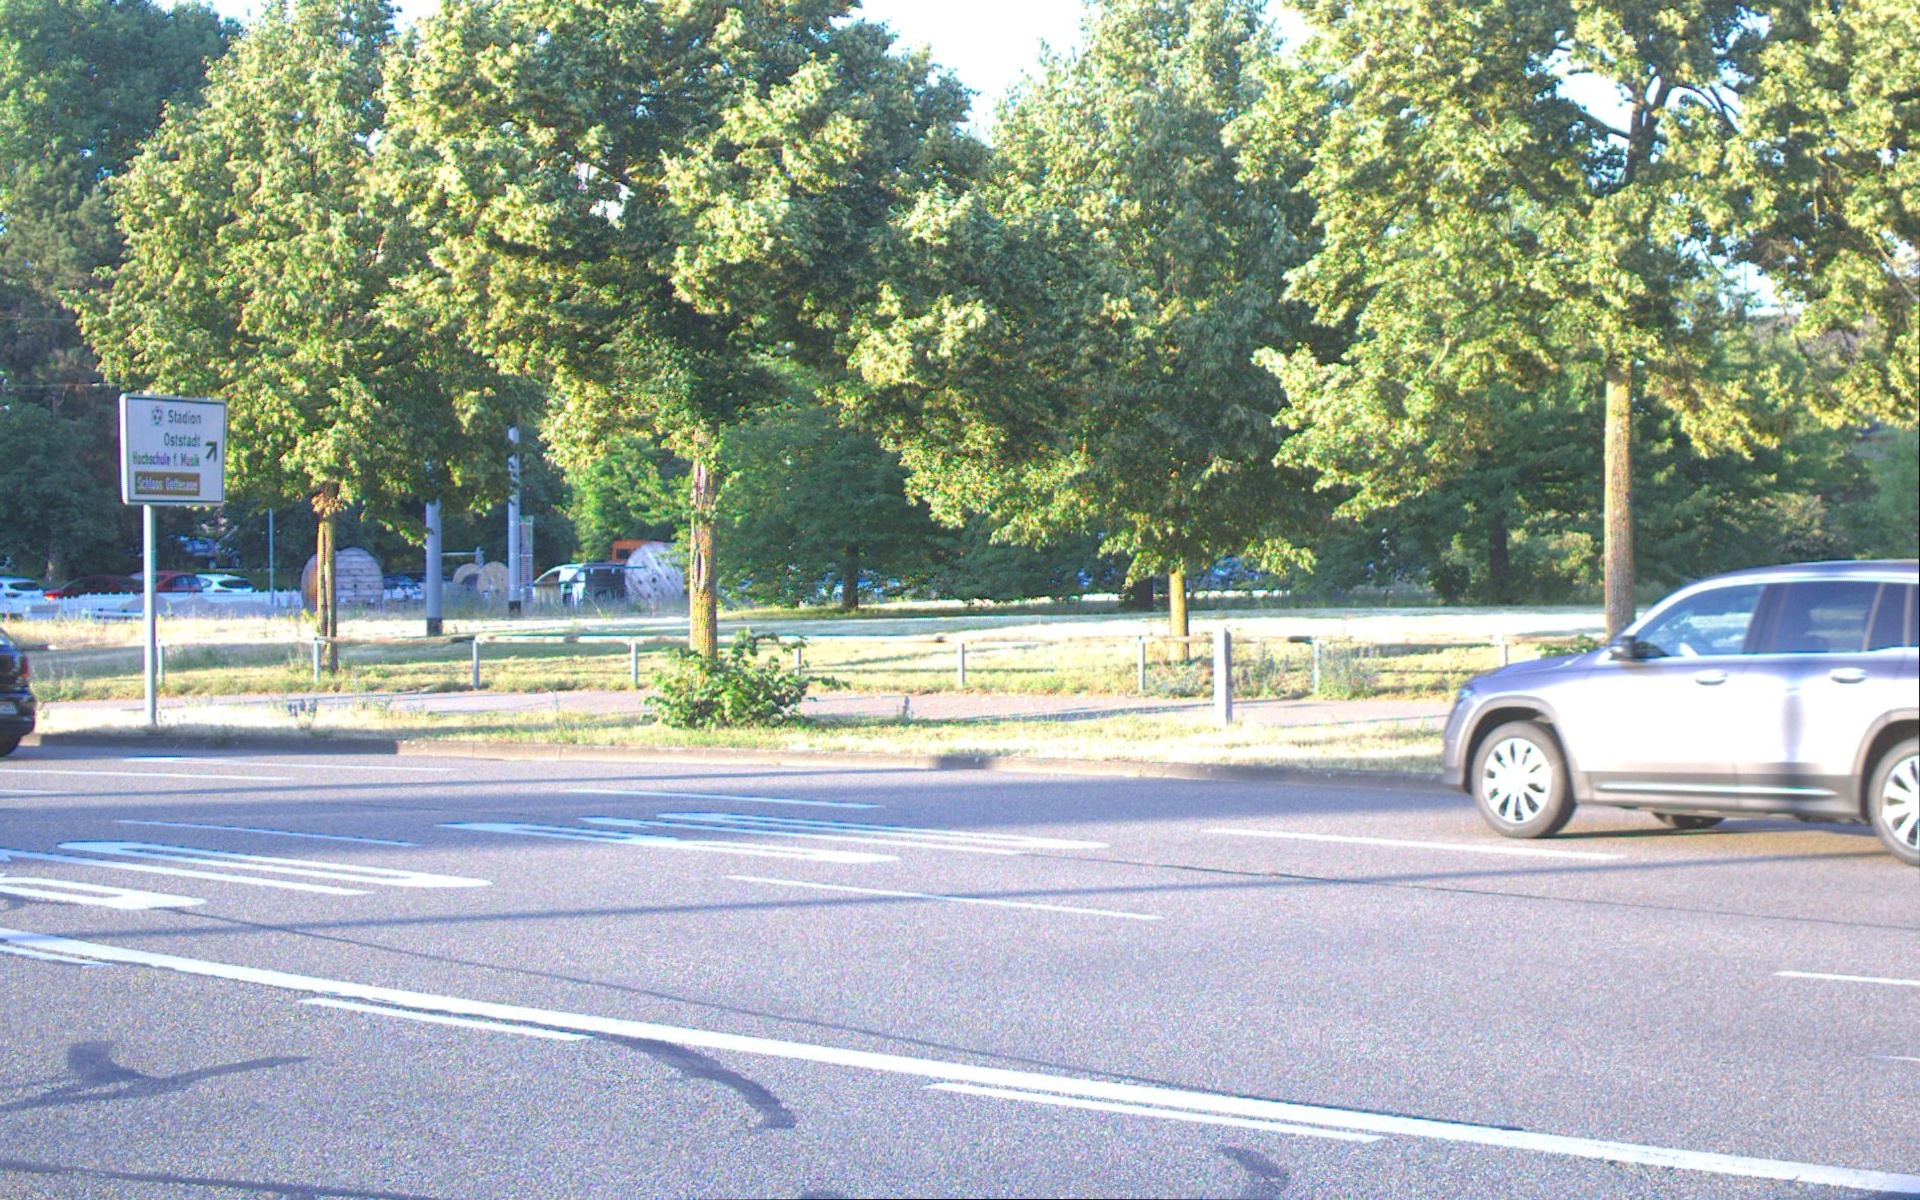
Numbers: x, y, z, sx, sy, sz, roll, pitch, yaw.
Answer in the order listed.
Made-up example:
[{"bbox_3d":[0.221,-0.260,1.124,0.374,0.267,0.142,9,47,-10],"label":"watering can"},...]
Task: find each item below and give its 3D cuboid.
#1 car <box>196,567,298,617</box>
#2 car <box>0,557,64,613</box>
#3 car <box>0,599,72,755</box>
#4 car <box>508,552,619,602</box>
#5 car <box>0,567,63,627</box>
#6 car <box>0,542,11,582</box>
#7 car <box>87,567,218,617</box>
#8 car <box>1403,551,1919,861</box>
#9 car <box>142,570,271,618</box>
[{"bbox_3d":[-26.846,-0.328,129.294,1.994,1.746,4.597,-1,2,-37],"label":"car"},{"bbox_3d":[-35.260,-0.558,125.796,4.582,2.007,2.001,-1,1,-9],"label":"car"},{"bbox_3d":[-10.240,0.686,31.272,3.992,1.349,1.692,0,2,25],"label":"car"},{"bbox_3d":[-13.254,-0.782,114.875,1.734,1.612,3.998,-1,1,-41],"label":"car"},{"bbox_3d":[-33.173,-0.100,117.663,4.582,2.007,2.001,-1,1,-9],"label":"car"},{"bbox_3d":[-42.442,-1.586,145.352,3.988,1.700,2.000,0,1,7],"label":"car"},{"bbox_3d":[-26.800,-0.267,114.085,3.994,1.598,1.996,0,1,33],"label":"car"},{"bbox_3d":[4.949,0.541,19.870,1.994,1.632,4.523,-1,1,-42],"label":"car"},{"bbox_3d":[-25.397,-0.212,115.815,3.994,1.598,1.996,0,1,33],"label":"car"}]
